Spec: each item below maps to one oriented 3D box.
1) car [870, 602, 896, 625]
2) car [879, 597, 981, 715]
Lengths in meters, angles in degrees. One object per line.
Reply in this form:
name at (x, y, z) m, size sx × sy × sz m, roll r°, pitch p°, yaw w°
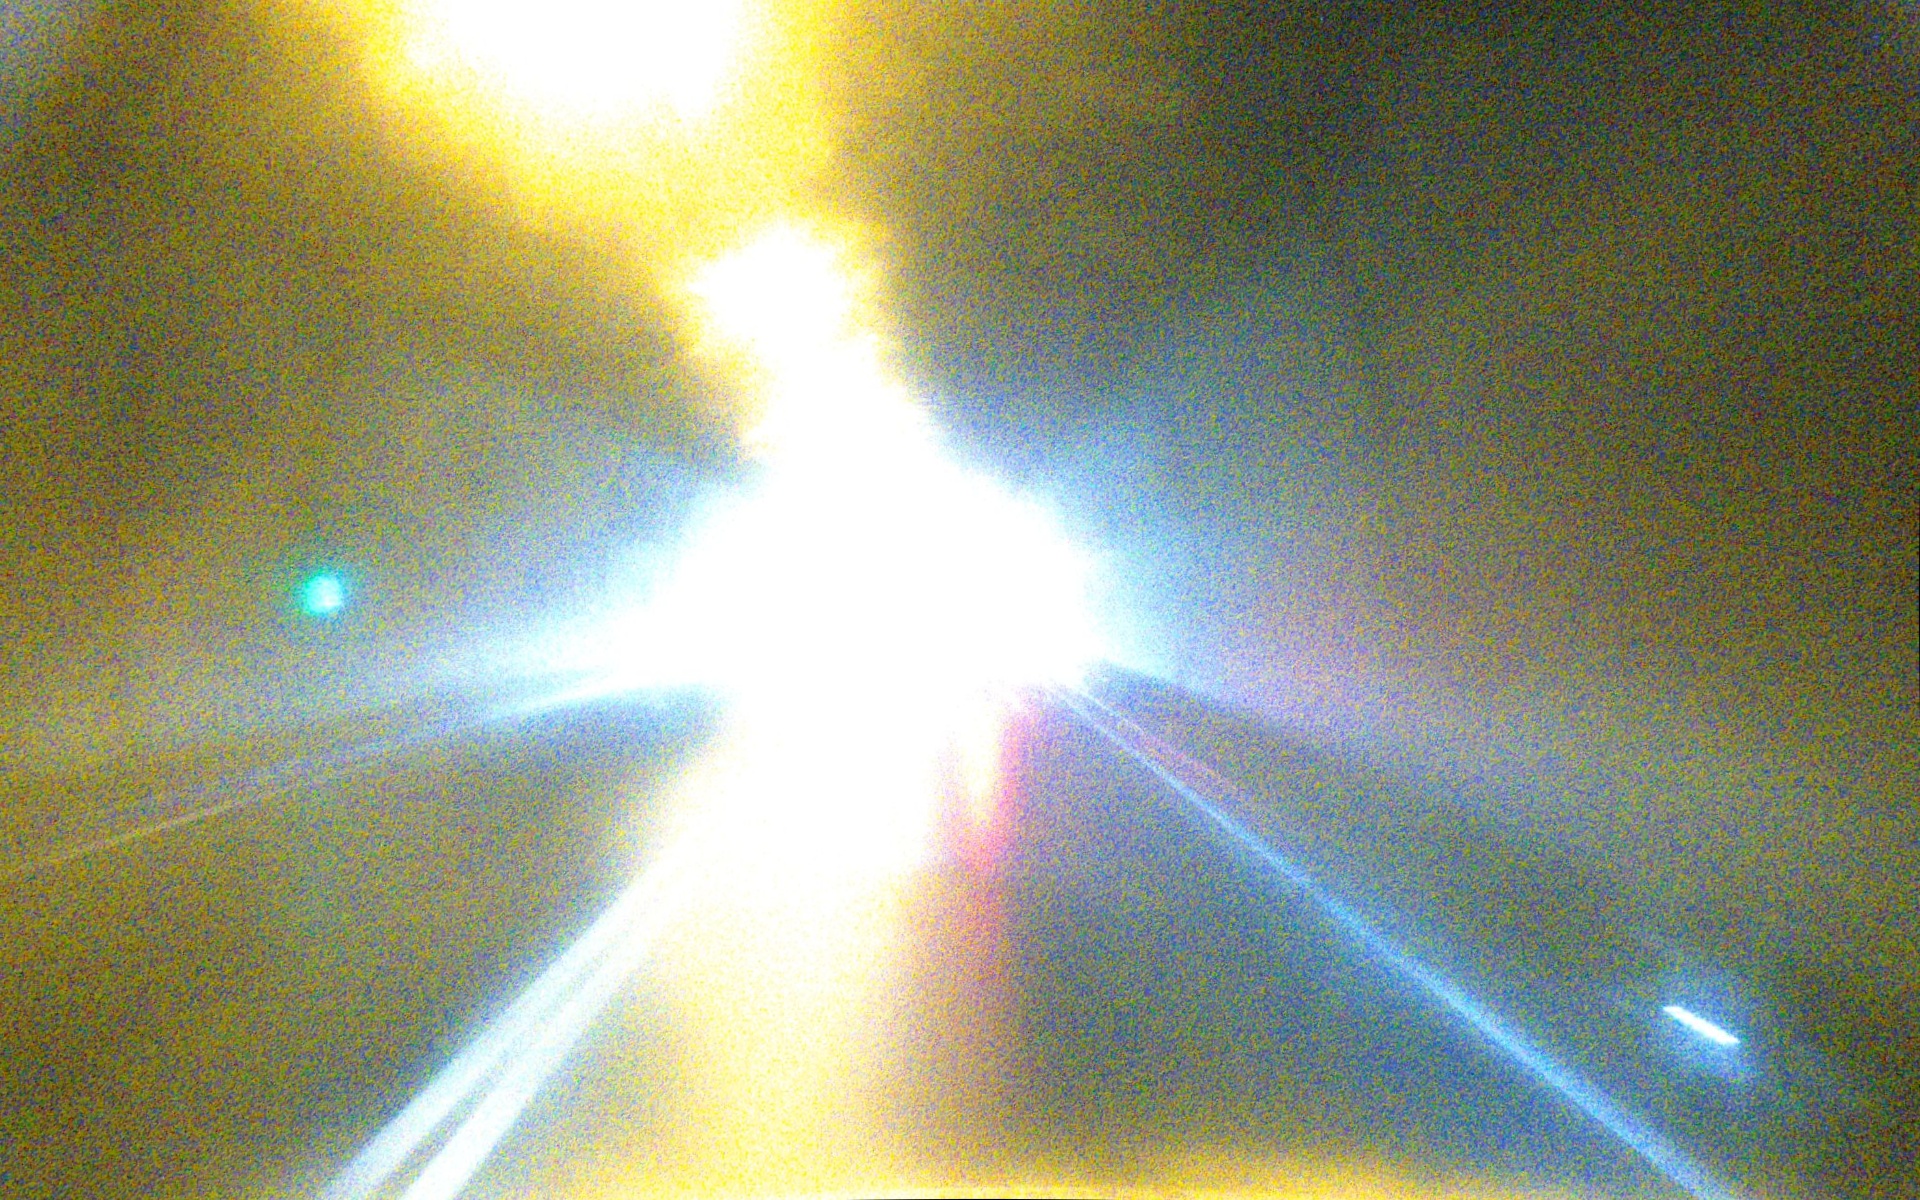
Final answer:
car at (-5.162, 0.895, 111.188) m, size 1.741 × 1.433 × 4.292 m, roll 0°, pitch 1°, yaw -3°
car at (-0.470, 0.880, 28.200) m, size 1.602 × 1.788 × 4.146 m, roll 0°, pitch 1°, yaw 0°
